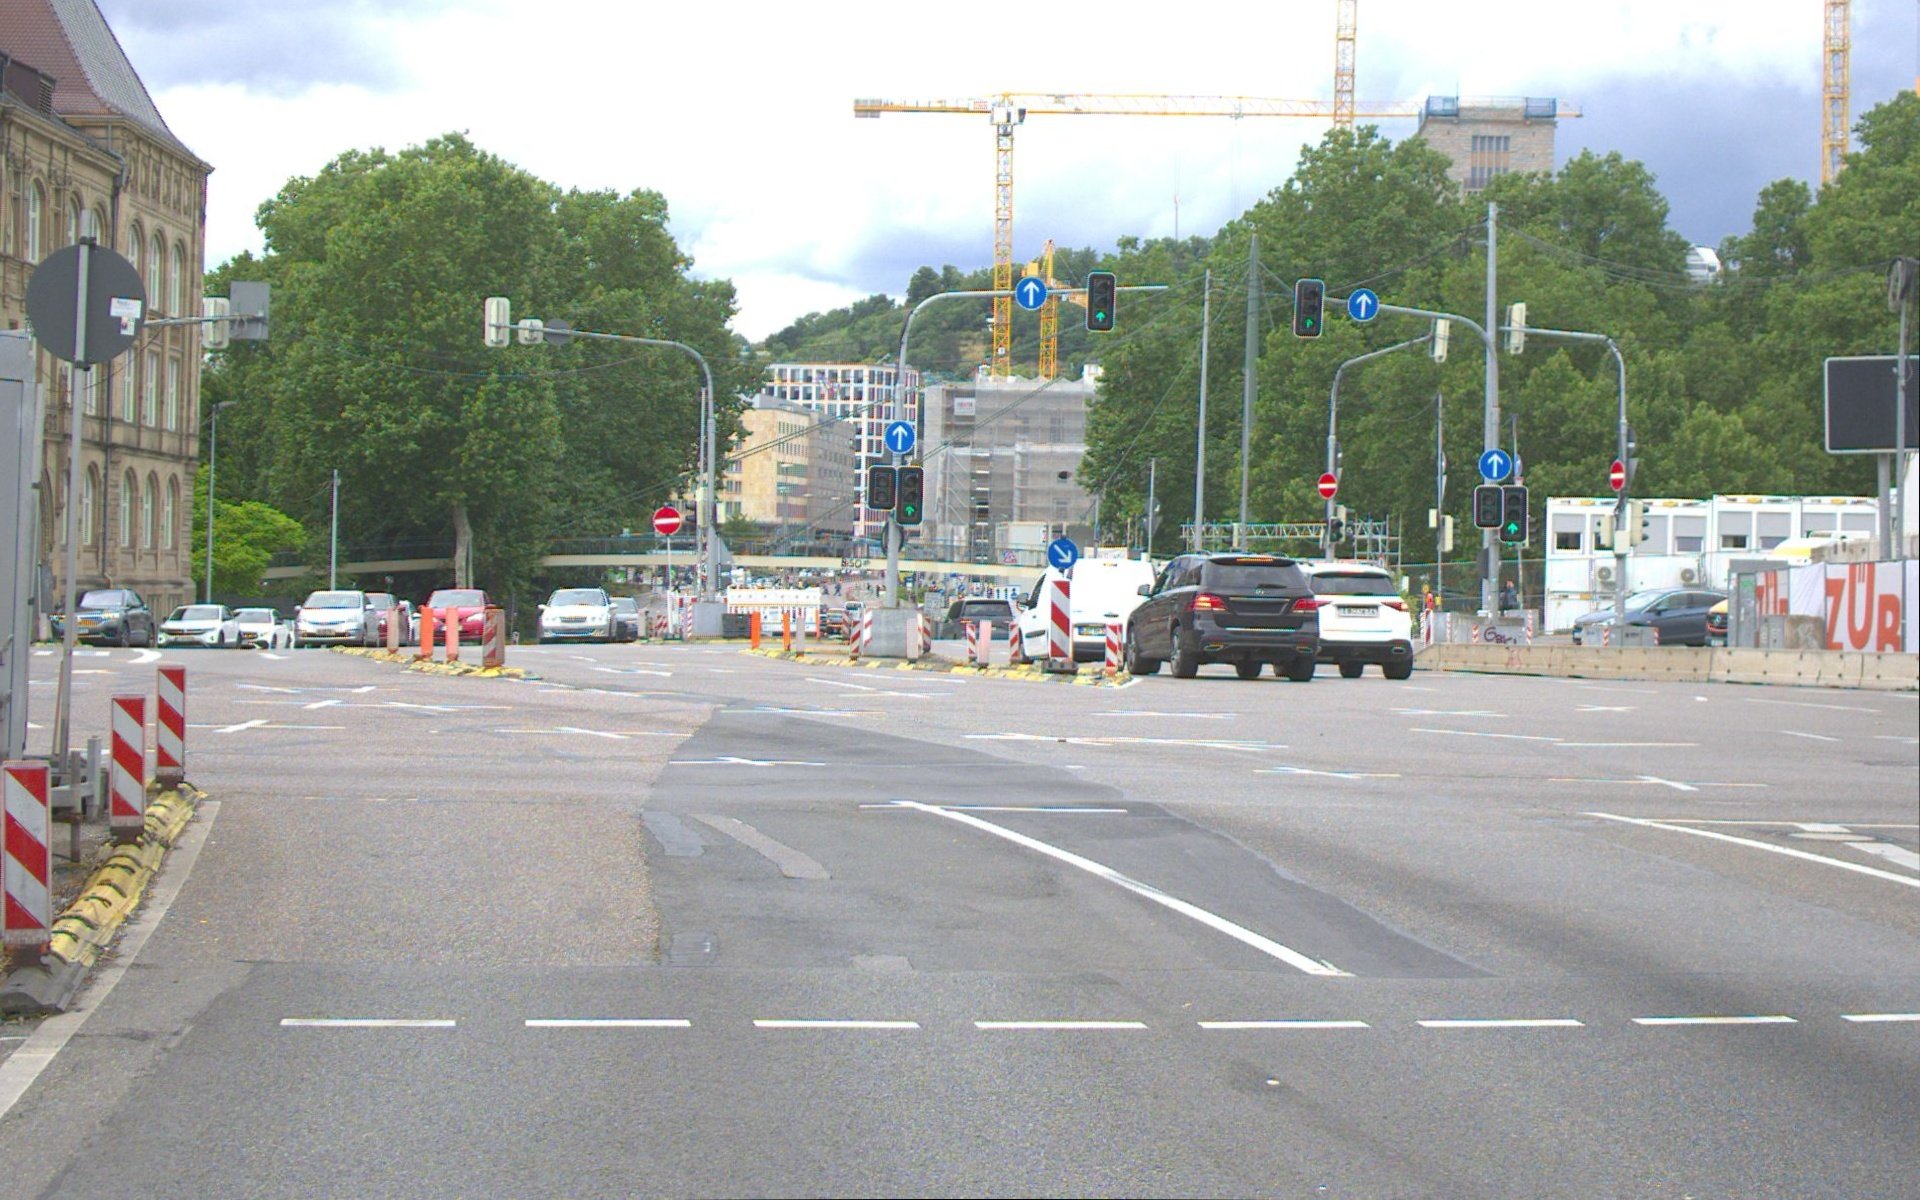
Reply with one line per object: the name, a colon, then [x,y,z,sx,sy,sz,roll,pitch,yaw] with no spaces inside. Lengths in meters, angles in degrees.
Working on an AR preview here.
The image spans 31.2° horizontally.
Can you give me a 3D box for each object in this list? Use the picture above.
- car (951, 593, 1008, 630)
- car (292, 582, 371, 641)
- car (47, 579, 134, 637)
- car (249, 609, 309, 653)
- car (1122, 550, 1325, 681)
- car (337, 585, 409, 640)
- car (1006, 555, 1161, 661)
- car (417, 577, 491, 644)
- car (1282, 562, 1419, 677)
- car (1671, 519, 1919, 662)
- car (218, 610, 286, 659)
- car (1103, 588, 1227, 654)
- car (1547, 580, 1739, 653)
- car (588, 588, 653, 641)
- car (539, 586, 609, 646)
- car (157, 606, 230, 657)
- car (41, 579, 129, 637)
car: [0.619,0.366,112.326,1.308,1.071,3.684,1,1,-8]
car: [-15.640,0.283,85.635,1.675,1.393,3.684,1,1,-7]
car: [-22.138,0.190,87.631,1.675,1.393,3.684,1,1,-7]
car: [-22.894,1.024,115.734,1.675,1.393,3.684,1,1,-7]
car: [3.666,0.187,48.487,1.831,1.740,4.257,1,1,-10]
car: [-15.660,0.322,91.797,1.675,1.393,3.684,1,1,-7]
car: [1.956,0.102,55.534,1.816,1.619,4.001,1,1,-8]
car: [-12.446,0.247,84.726,1.675,1.575,3.684,1,1,-7]
car: [5.991,0.270,53.054,1.676,1.696,3.374,1,1,-1]
car: [19.288,-0.200,75.872,6.735,3.041,2.373,1,0,-18]
car: [-22.273,1.085,108.215,1.675,1.393,3.684,1,1,-6]
car: [4.508,0.453,75.996,1.675,1.393,3.087,1,1,-19]
car: [15.860,0.386,79.851,3.986,1.619,1.823,1,1,-19]
car: [-9.286,0.383,93.868,1.675,1.393,3.684,1,1,-7]
car: [-9.555,0.376,85.039,1.675,1.393,3.684,1,1,-7]
car: [-22.209,0.891,99.732,1.675,1.393,3.684,1,1,-7]
car: [-21.990,0.185,86.493,1.675,1.393,3.684,1,1,-7]
